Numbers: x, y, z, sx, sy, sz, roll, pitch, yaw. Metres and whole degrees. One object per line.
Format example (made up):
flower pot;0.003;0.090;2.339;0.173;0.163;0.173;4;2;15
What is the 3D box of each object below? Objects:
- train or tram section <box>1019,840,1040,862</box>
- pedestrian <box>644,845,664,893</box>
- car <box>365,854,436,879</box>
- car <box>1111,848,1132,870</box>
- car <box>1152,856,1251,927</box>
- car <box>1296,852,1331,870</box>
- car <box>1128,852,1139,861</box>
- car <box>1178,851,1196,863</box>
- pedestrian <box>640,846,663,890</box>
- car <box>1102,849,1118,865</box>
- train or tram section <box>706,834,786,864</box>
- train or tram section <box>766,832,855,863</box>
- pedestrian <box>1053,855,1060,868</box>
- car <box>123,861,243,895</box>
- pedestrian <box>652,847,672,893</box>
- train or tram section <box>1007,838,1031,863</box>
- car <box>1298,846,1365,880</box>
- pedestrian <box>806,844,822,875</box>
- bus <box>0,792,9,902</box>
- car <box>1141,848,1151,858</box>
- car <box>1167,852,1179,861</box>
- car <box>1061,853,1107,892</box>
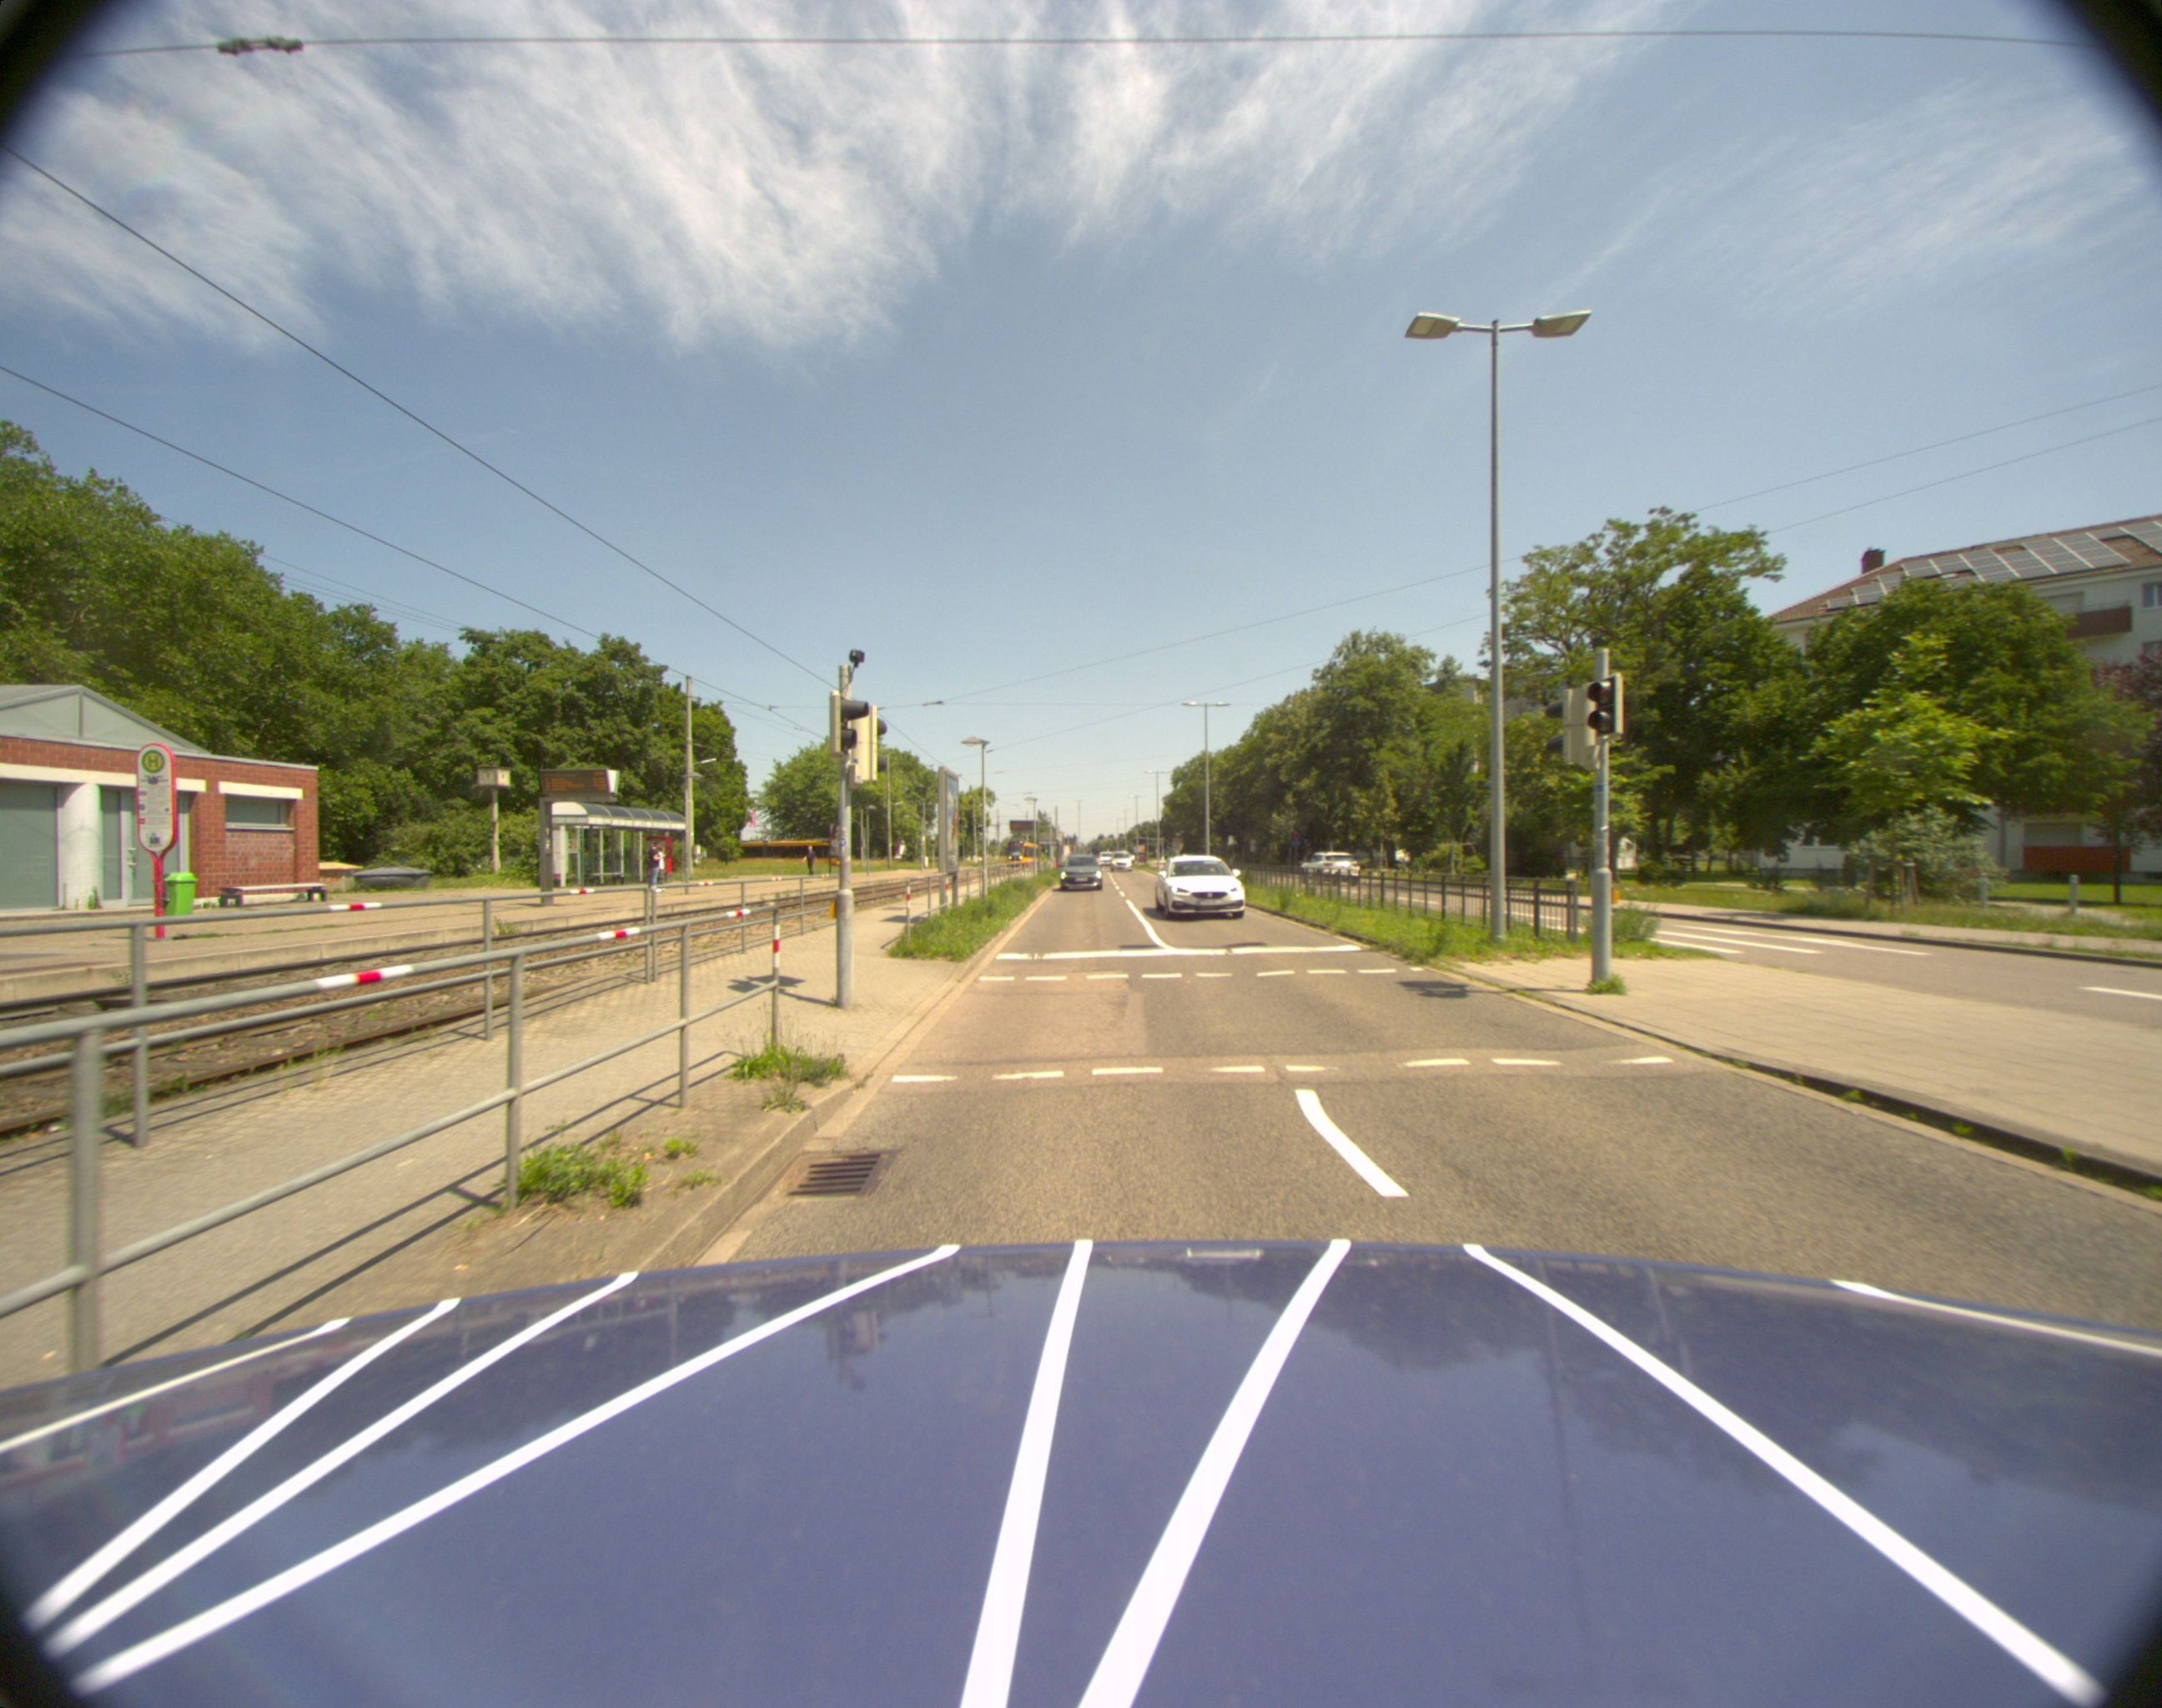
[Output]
train or tram section;-8.014;-0.484;118.664;2.524;3.303;7.260;0;0;2
pedestrian;-14.786;0.497;26.306;0.361;1.637;0.445;-2;2;4
car;-43.002;0.746;48.159;1.889;1.502;3.993;0;0;-18
car;3.817;0.409;71.593;1.998;2.002;4.000;0;1;3
car;2.824;0.827;18.667;1.772;1.460;4.111;-2;0;1
car;20.978;0.615;68.667;1.998;1.576;4.000;0;0;1
car;10.315;0.404;150.027;1.816;1.631;3.999;-2;1;1
car;15.453;0.406;110.509;1.864;1.748;4.479;-1;1;-1
pedestrian;-17.478;0.563;30.906;0.382;1.764;0.740;-2;2;4
car;3.647;0.309;97.008;1.921;2.002;4.000;0;0;0
train or tram section;-45.019;-0.635;101.899;13.215;3.628;2.720;-1;2;32
train or tram section;-33.911;-0.739;94.934;13.149;3.628;2.720;-1;2;32
pedestrian;-1.986;0.588;61.568;0.577;1.034;0.579;0;1;1
car;-37.915;0.971;32.209;1.575;1.259;3.992;0;0;-22
pedestrian;-14.771;0.555;26.799;0.361;1.587;0.483;-2;2;4
train or tram section;-8.491;-0.444;104.294;2.524;3.303;7.260;0;0;2
car;12.454;0.427;38.077;1.826;1.563;4.345;0;1;-1
pedestrian;-15.188;0.322;43.236;0.707;1.754;0.657;0;1;3
bus;-33.002;-0.128;17.400;2.770;3.419;12.424;-2;1;-18
car;13.798;-0.197;161.177;1.998;2.002;4.000;0;0;1
car;17.184;0.479;142.241;1.772;1.545;4.083;0;0;0
car;0.193;0.782;33.752;1.787;1.554;4.136;-2;0;3
